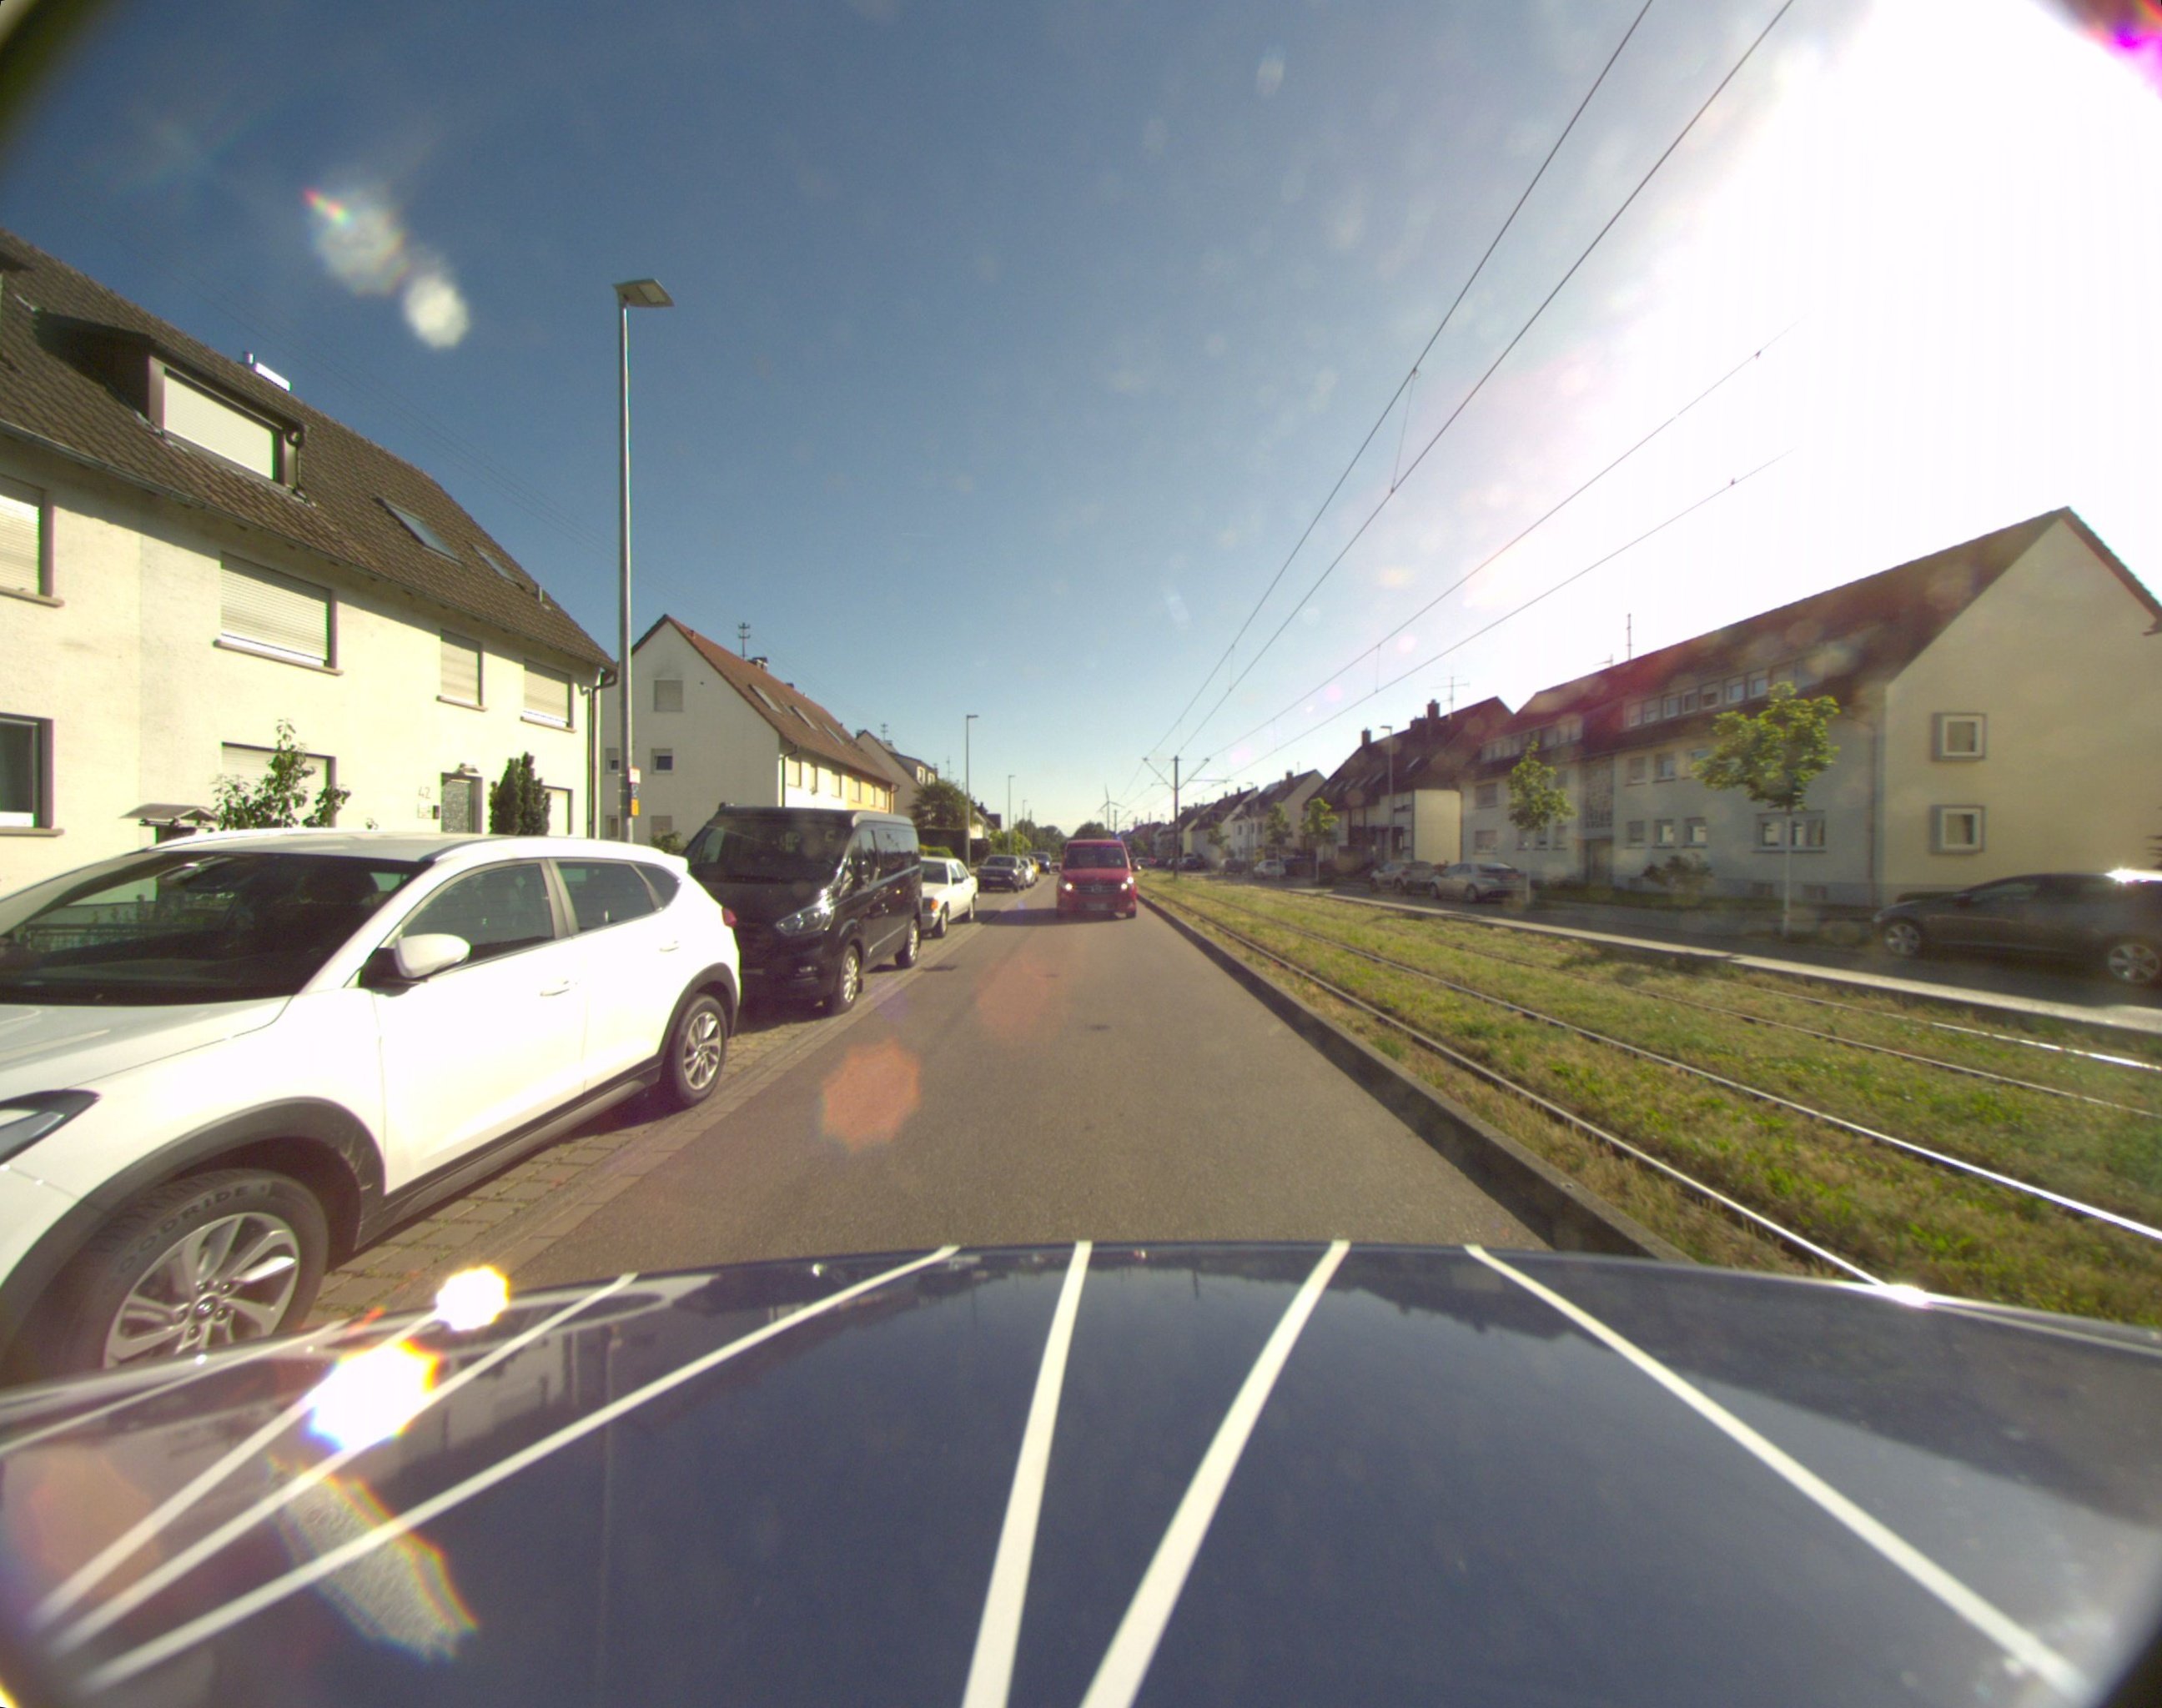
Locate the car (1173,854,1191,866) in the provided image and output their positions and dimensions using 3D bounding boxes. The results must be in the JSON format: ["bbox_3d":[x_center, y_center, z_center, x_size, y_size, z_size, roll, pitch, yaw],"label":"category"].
[{"bbox_3d":[12.722,0.785,95.851,1.469,1.459,3.998,0,0,-2],"label":"car"}]

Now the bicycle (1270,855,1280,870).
[{"bbox_3d":[16.104,0.675,62.986,0.478,1.156,1.872,-1,1,5],"label":"bicycle"}]

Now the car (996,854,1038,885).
[{"bbox_3d":[-3.151,0.742,38.111,1.753,1.438,4.698,1,-1,-1],"label":"car"}]

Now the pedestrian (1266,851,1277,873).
[{"bbox_3d":[15.822,0.651,63.096,0.617,1.805,0.678,-2,1,-9],"label":"pedestrian"}]

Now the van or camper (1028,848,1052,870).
[{"bbox_3d":[-3.611,0.445,67.941,1.954,1.836,5.581,1,1,-2],"label":"van or camper"}]

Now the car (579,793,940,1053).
[{"bbox_3d":[-3.180,0.558,9.004,1.965,2.132,5.335,1,1,0],"label":"car"}]

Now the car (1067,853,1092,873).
[{"bbox_3d":[-0.190,0.776,67.186,1.862,1.592,4.326,3,0,-4],"label":"car"}]

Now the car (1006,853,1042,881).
[{"bbox_3d":[-3.372,0.735,45.624,1.810,1.550,4.925,1,1,0],"label":"car"}]

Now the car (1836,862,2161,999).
[{"bbox_3d":[14.015,0.948,10.854,1.965,1.531,4.556,-1,1,0],"label":"car"}]

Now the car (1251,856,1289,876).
[{"bbox_3d":[13.950,0.871,56.320,1.662,1.428,4.102,0,0,-1],"label":"car"}]

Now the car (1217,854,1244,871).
[{"bbox_3d":[13.597,0.772,69.155,1.623,1.503,4.085,-1,0,0],"label":"car"}]

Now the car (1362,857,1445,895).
[{"bbox_3d":[13.995,0.924,33.283,1.693,1.464,4.313,-1,1,-1],"label":"car"}]

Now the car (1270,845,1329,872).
[{"bbox_3d":[18.670,0.365,65.070,4.472,2.069,1.787,-3,1,0],"label":"car"}]

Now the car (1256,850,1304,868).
[{"bbox_3d":[20.253,0.497,77.348,4.404,1.773,1.970,0,0,-1],"label":"car"}]

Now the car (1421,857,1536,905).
[{"bbox_3d":[14.023,0.906,27.143,1.693,1.467,4.441,-1,1,-1],"label":"car"}]

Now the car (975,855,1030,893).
[{"bbox_3d":[-3.264,0.791,32.587,1.782,1.490,4.728,0,0,1],"label":"car"}]

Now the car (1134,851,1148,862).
[{"bbox_3d":[8.556,0.327,108.903,1.693,1.467,3.678,1,1,-1],"label":"car"}]

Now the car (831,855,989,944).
[{"bbox_3d":[-3.285,0.790,15.893,1.857,1.435,5.613,2,0,2],"label":"car"}]

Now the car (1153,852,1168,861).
[{"bbox_3d":[12.145,0.380,115.780,1.705,1.389,4.091,-1,1,-1],"label":"car"}]

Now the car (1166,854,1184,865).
[{"bbox_3d":[12.465,0.731,100.992,1.658,1.447,4.399,-1,1,-1],"label":"car"}]

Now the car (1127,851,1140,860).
[{"bbox_3d":[8.430,0.236,123.277,1.693,1.467,4.082,-1,1,-1],"label":"car"}]

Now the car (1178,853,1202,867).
[{"bbox_3d":[12.986,0.653,90.621,1.926,1.551,4.857,-1,1,-2],"label":"car"}]

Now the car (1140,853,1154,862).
[{"bbox_3d":[11.103,0.561,127.672,1.832,1.522,4.091,-1,1,-1],"label":"car"}]

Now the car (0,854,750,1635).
[{"bbox_3d":[-3.208,0.860,3.159,1.730,1.636,4.318,2,1,0],"label":"car"}]

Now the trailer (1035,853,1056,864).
[{"bbox_3d":[-4.245,0.478,91.046,2.278,1.124,6.433,3,0,-4],"label":"trailer"}]

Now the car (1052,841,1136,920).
[{"bbox_3d":[0.255,0.609,20.910,1.999,1.889,5.389,-1,1,-1],"label":"car"}]
